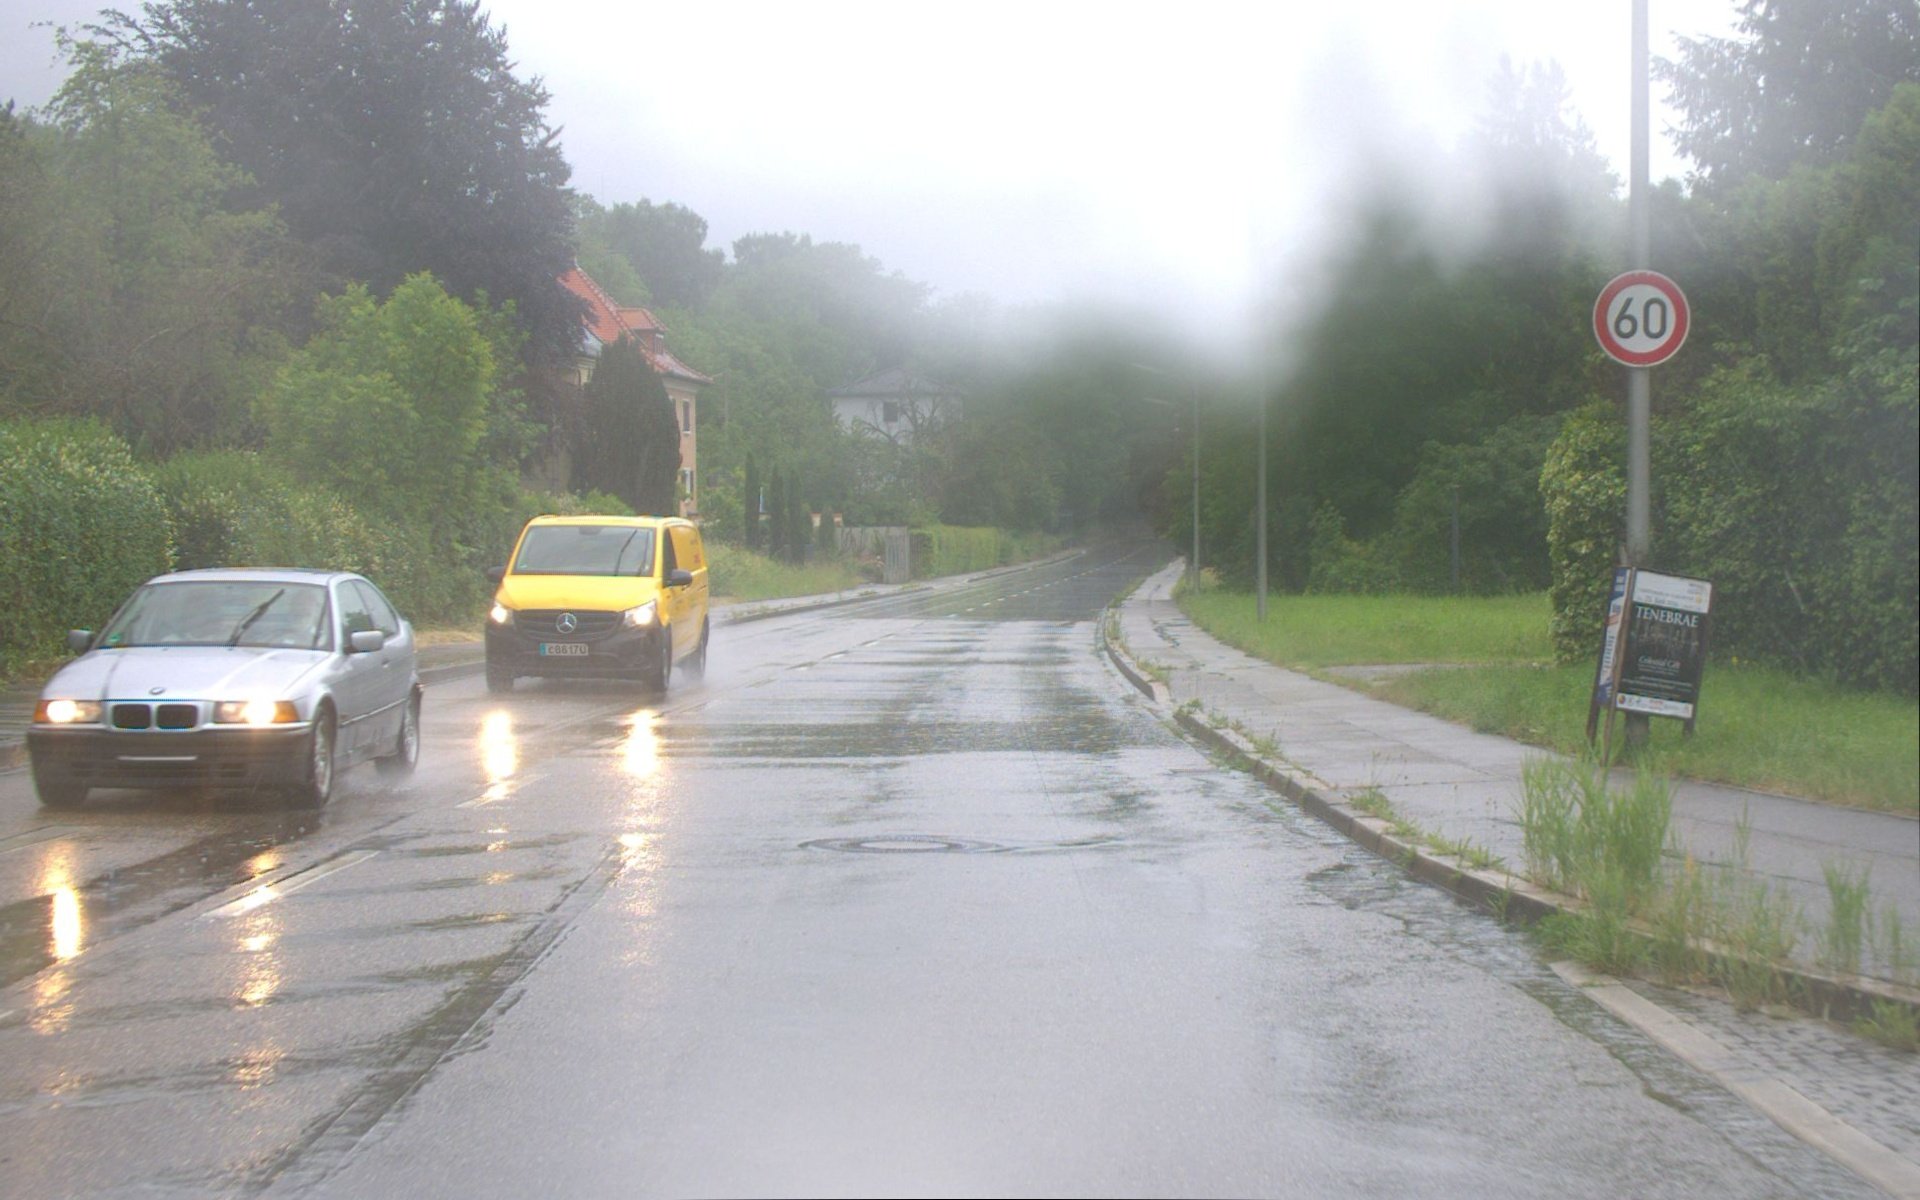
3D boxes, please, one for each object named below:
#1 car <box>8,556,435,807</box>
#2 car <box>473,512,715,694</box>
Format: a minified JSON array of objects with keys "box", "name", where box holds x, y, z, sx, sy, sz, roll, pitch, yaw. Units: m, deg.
[{"box":[-4.350,0.421,20.816,1.701,1.345,3.905,0,1,1],"name":"car"},{"box":[-3.947,-0.019,37.892,1.937,1.865,5.036,0,1,2],"name":"car"}]
